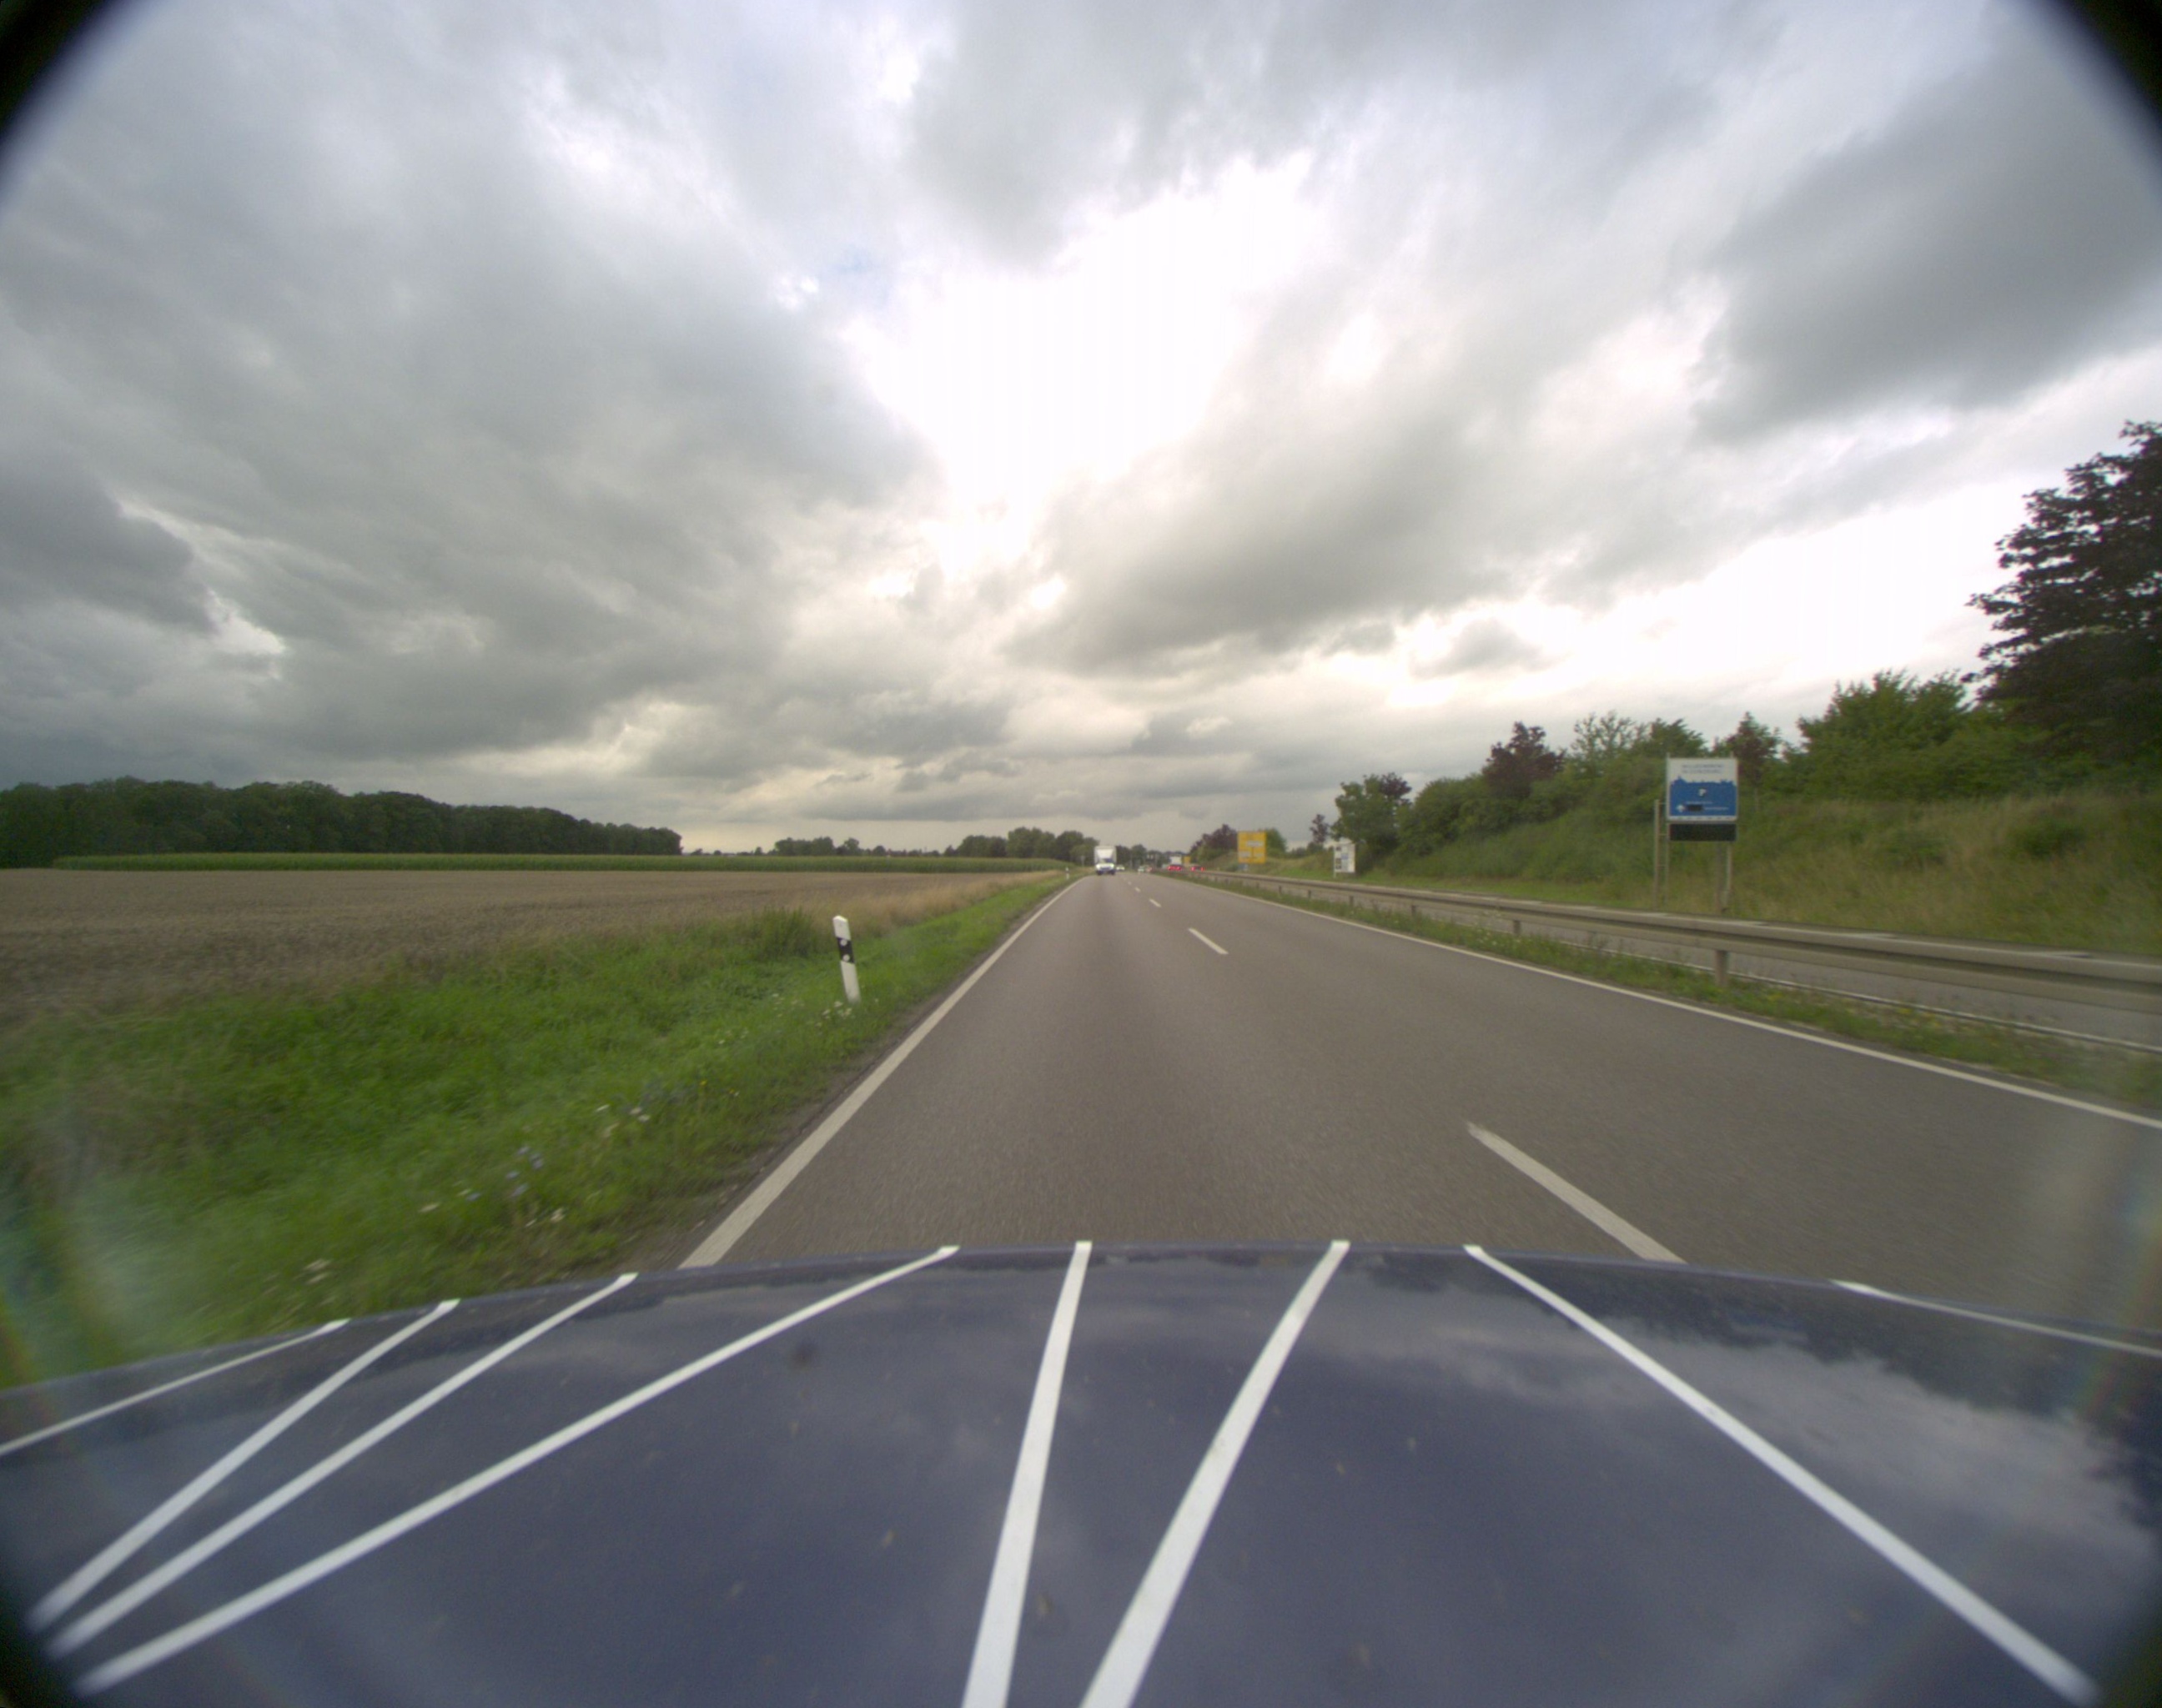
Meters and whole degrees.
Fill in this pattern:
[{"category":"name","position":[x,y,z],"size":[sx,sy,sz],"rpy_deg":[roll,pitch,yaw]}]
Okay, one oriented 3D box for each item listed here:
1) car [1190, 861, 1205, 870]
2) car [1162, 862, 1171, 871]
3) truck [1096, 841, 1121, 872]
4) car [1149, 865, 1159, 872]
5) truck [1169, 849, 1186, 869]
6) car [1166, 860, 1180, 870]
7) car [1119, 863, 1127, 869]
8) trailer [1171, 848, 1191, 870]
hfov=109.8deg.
[{"category":"car","position":[17.363,1.715,113.642],"size":[1.695,1.316,4.418],"rpy_deg":[0,-1,3]},{"category":"car","position":[23.303,3.475,207.829],"size":[2.038,2.425,5.637],"rpy_deg":[2,-1,3]},{"category":"truck","position":[3.430,0.416,94.196],"size":[2.934,3.651,8.446],"rpy_deg":[0,-1,3]},{"category":"car","position":[16.548,3.298,173.262],"size":[2.090,1.510,4.195],"rpy_deg":[0,-1,4]},{"category":"truck","position":[19.484,1.129,153.589],"size":[2.809,3.973,5.288],"rpy_deg":[0,-1,3]},{"category":"car","position":[13.338,1.613,110.290],"size":[1.758,1.477,4.578],"rpy_deg":[0,-1,3]},{"category":"car","position":[10.823,3.126,194.139],"size":[2.090,1.510,4.195],"rpy_deg":[0,-1,4]},{"category":"trailer","position":[19.128,1.019,145.846],"size":[2.781,3.923,12.990],"rpy_deg":[0,-1,2]}]
